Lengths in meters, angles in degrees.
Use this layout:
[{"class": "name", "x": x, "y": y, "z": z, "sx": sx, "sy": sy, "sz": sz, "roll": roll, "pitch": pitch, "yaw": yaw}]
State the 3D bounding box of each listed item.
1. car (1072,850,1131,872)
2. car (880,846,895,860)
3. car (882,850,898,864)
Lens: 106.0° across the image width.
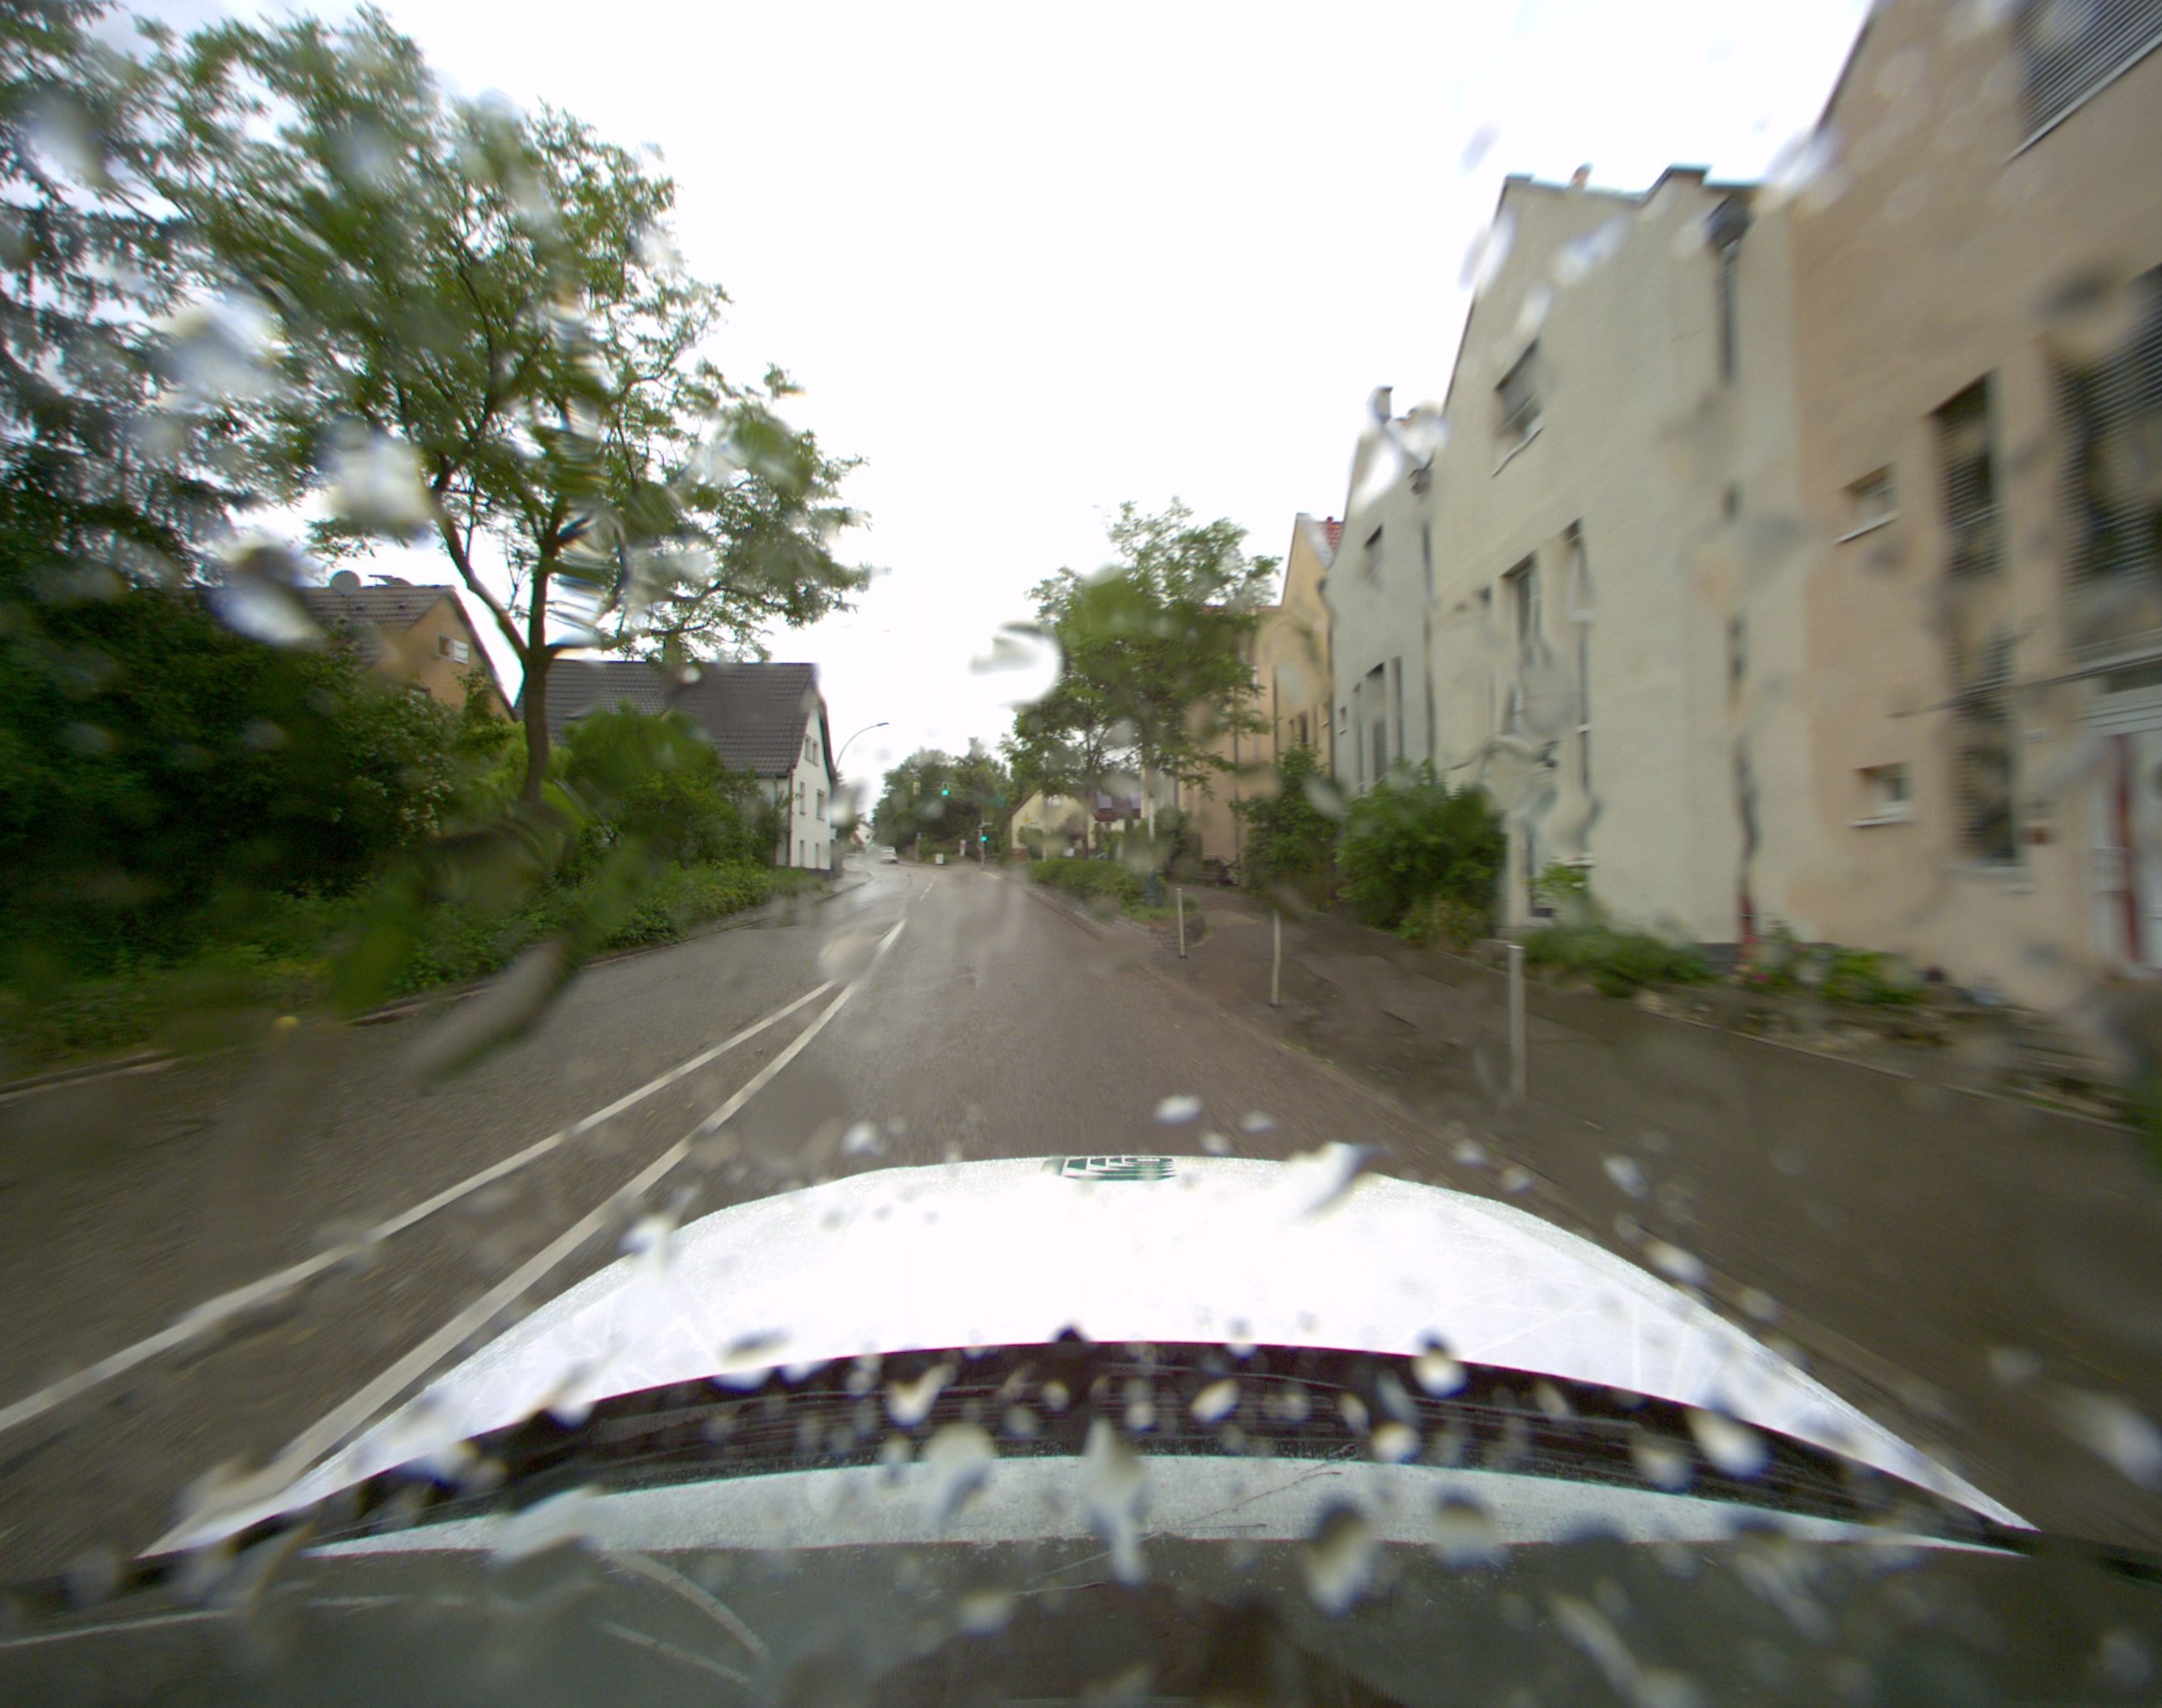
[{"class": "car", "x": 1.453, "y": 0.506, "z": 57.999, "sx": 4.116, "sy": 1.585, "sz": 1.865, "roll": 0, "pitch": -1, "yaw": 2}, {"class": "car", "x": -23.740, "y": -0.142, "z": 100.064, "sx": 1.638, "sy": 1.741, "sz": 4.118, "roll": 0, "pitch": 0, "yaw": -12}, {"class": "car", "x": -21.029, "y": 0.328, "z": 89.614, "sx": 1.614, "sy": 1.480, "sz": 4.018, "roll": 0, "pitch": 0, "yaw": -15}]
